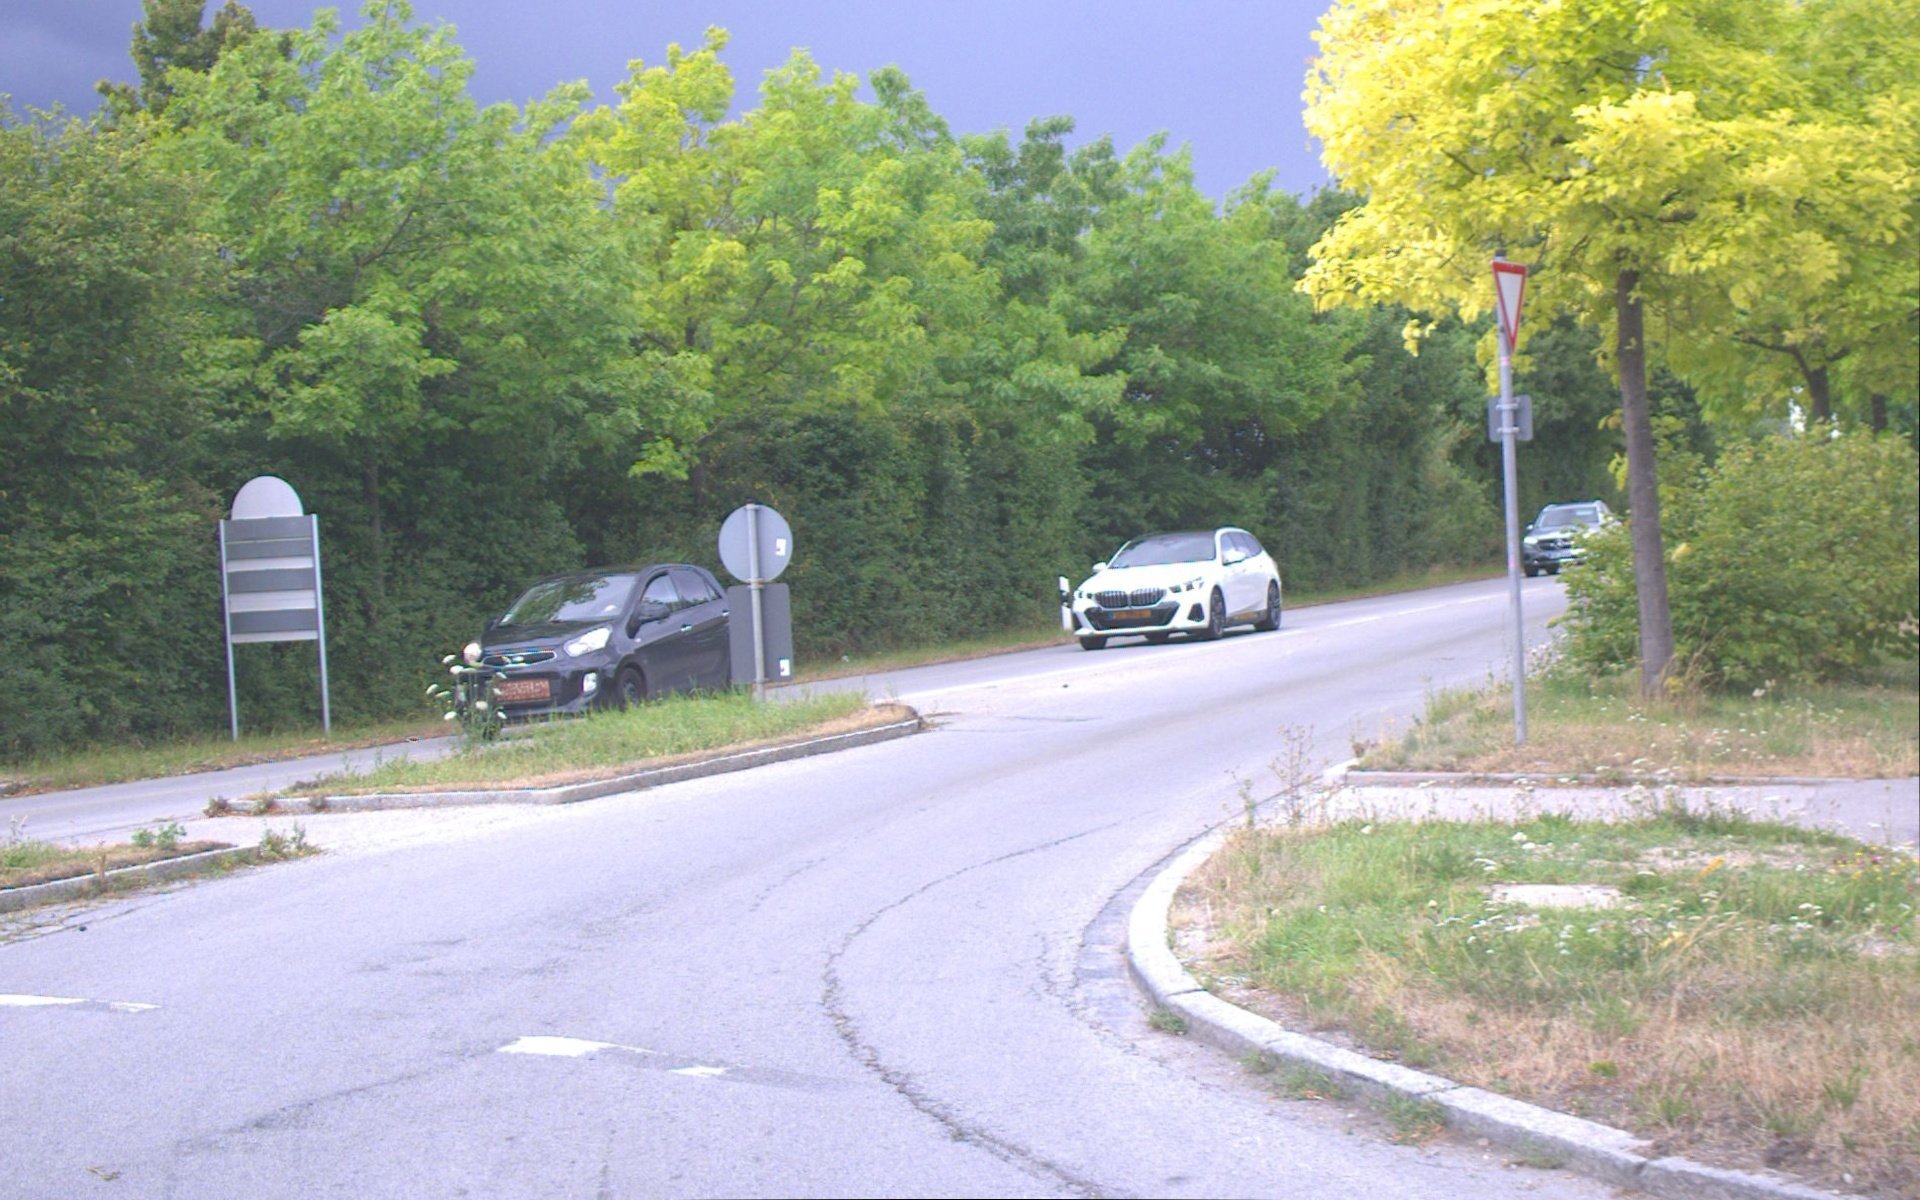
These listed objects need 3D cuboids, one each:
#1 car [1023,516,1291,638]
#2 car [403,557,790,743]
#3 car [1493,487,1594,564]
[{"bbox_3d":[2.766,-0.345,46.952,2.215,1.449,4.938,-1,2,21],"label":"car"},{"bbox_3d":[-3.218,0.405,31.246,1.684,1.449,3.995,-1,2,24],"label":"car"},{"bbox_3d":[13.638,-1.727,80.197,1.994,1.596,4.662,-4,0,12],"label":"car"}]
